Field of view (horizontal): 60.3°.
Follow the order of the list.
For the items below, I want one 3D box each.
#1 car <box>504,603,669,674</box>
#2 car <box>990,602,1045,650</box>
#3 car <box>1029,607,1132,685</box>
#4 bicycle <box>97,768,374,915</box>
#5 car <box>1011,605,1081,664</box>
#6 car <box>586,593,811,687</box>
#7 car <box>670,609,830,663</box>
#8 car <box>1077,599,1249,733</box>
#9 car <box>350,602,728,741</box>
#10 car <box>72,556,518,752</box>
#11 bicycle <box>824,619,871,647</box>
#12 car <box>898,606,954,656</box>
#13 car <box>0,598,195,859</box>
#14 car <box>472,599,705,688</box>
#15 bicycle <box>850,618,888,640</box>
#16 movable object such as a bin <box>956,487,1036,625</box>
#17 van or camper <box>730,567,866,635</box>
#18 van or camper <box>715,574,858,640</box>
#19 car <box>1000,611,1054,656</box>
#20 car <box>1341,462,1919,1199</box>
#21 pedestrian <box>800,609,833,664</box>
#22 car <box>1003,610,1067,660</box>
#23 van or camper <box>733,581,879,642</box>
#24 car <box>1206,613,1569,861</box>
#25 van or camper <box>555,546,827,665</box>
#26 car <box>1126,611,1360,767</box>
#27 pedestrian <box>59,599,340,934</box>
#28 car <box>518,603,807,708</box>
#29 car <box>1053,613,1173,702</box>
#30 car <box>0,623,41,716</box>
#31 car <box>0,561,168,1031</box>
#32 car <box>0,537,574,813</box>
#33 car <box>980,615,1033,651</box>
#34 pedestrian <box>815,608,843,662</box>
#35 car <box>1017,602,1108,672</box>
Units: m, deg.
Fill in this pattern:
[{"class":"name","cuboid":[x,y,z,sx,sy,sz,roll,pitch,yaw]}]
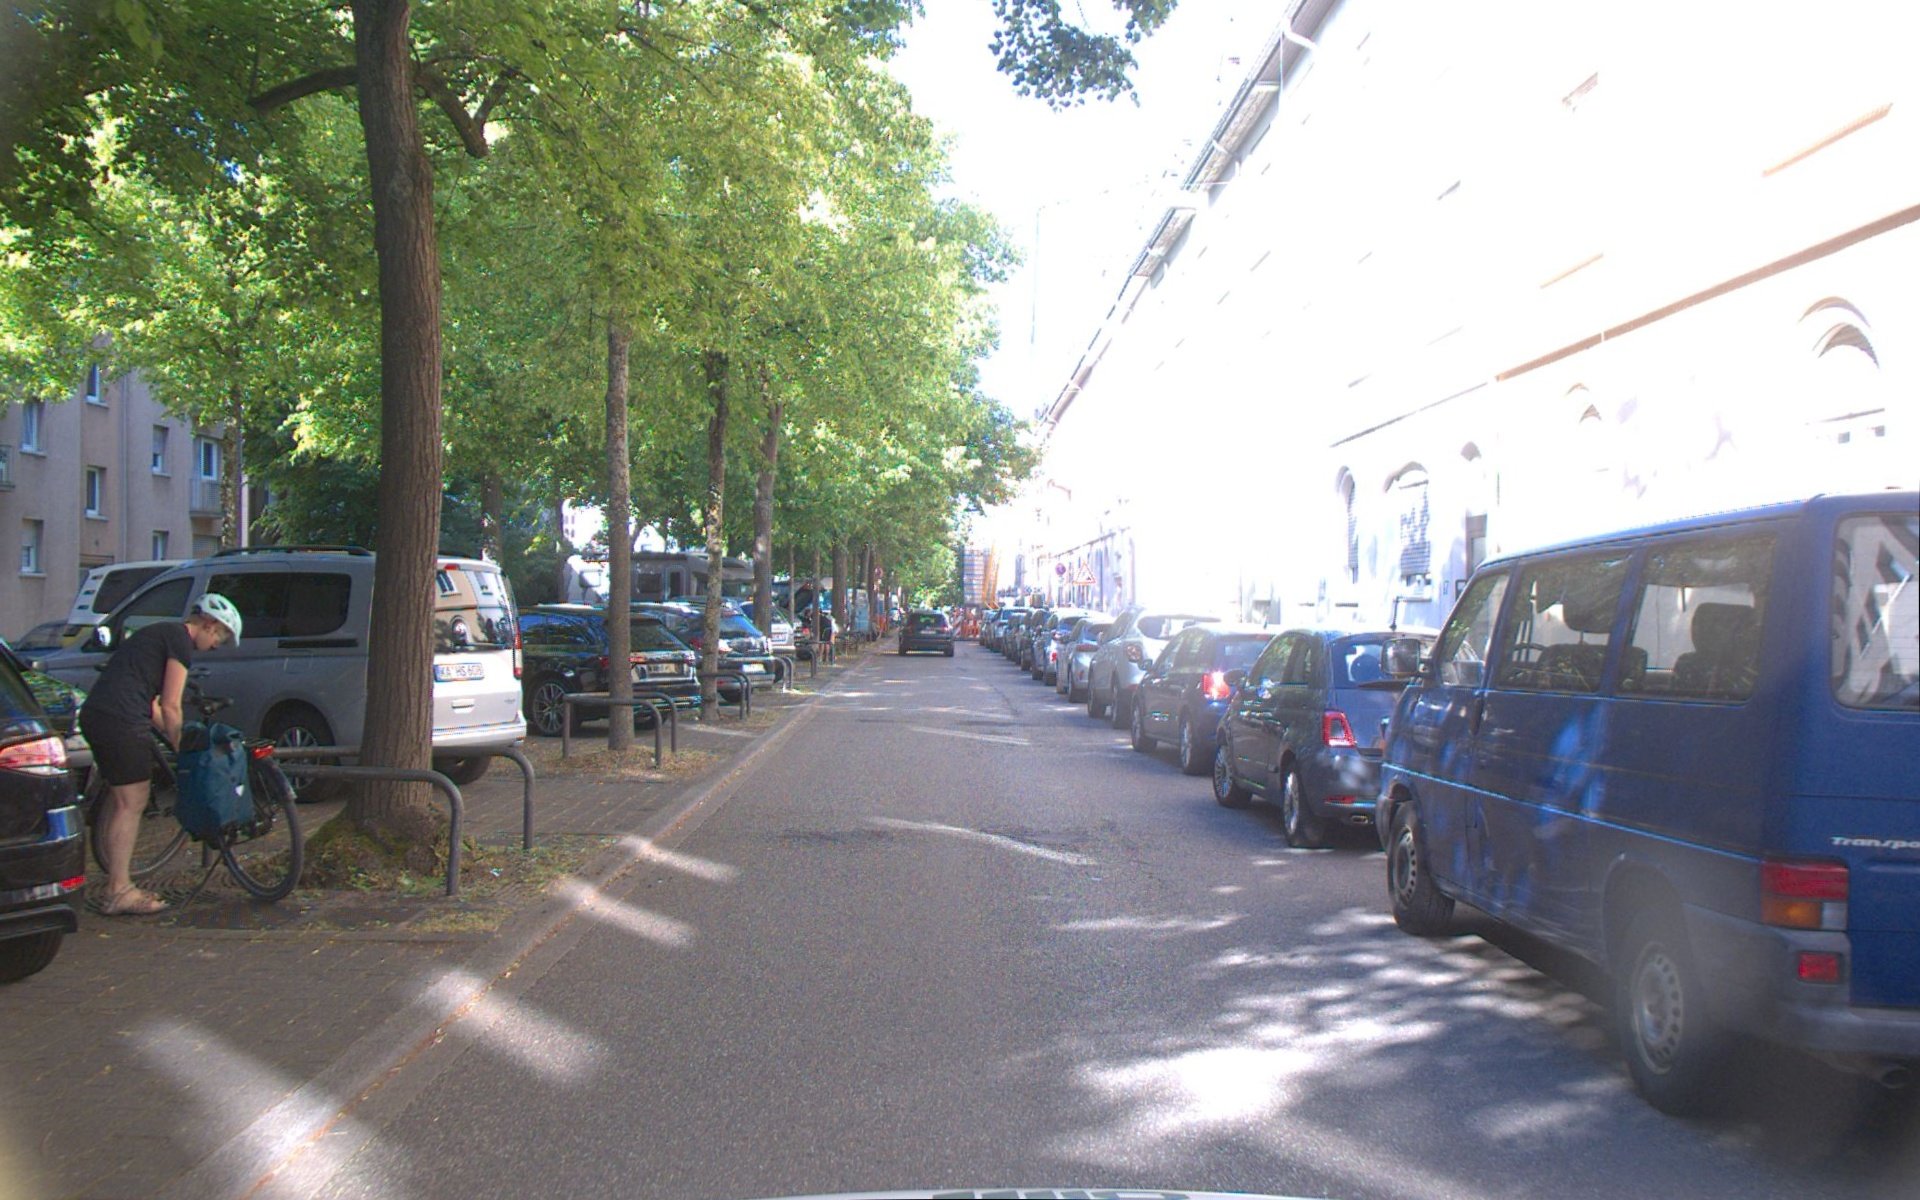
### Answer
[{"class":"car","cuboid":[-8.514,0.854,37.663,3.469,1.533,1.753,-1,0,33]},{"class":"car","cuboid":[2.086,0.935,61.174,1.779,1.703,4.672,0,0,-1]},{"class":"car","cuboid":[2.529,0.943,35.561,1.688,1.555,4.155,0,0,-3]},{"class":"bicycle","cuboid":[-3.612,1.171,8.207,1.579,0.568,0.409,0,0,30]},{"class":"car","cuboid":[2.360,0.936,46.073,1.598,1.561,3.590,0,0,-3]},{"class":"car","cuboid":[-5.048,0.732,31.831,4.054,1.709,1.757,0,0,28]},{"class":"car","cuboid":[-5.922,0.991,46.551,4.230,1.449,1.674,0,0,26]},{"class":"car","cuboid":[2.783,0.854,23.527,1.688,1.715,4.155,0,0,-4]},{"class":"car","cuboid":[-5.034,0.778,19.610,4.392,1.481,1.784,0,0,31]},{"class":"car","cuboid":[-7.133,0.559,17.679,4.503,1.864,2.016,-1,-1,28]},{"class":"bicycle","cuboid":[-4.247,1.256,62.505,1.702,1.023,0.506,-1,0,-32]},{"class":"car","cuboid":[-1.139,0.995,53.871,1.761,1.530,3.584,-1,0,-2]},{"class":"car","cuboid":[-6.645,0.701,10.364,3.721,1.431,1.619,0,0,33]},{"class":"car","cuboid":[-6.752,0.750,29.993,3.956,1.427,1.820,1,0,31]},{"class":"bicycle","cuboid":[-4.430,1.417,80.817,1.858,1.024,0.430,0,0,23]},{"class":"movable object such as a bin","cuboid":[1.843,-2.191,84.479,3.415,6.878,2.363,0,-1,31]},{"class":"van or camper","cuboid":[-8.201,0.072,83.458,6.527,3.297,2.492,-1,0,28]},{"class":"van or camper","cuboid":[-7.396,0.318,70.368,5.755,2.683,2.252,-1,0,28]},{"class":"car","cuboid":[2.226,1.103,55.767,1.585,1.437,3.787,0,0,-1]},{"class":"car","cuboid":[3.103,0.604,6.742,1.909,1.934,4.844,0,0,-1]},{"class":"pedestrian","cuboid":[-3.923,0.984,45.197,0.695,1.481,0.596,-1,0,22]},{"class":"car","cuboid":[2.265,1.040,50.769,1.598,1.437,4.086,0,0,-3]},{"class":"van or camper","cuboid":[-6.167,0.461,66.147,5.386,2.315,2.220,-1,0,23]},{"class":"car","cuboid":[2.985,0.881,12.296,1.589,1.524,3.593,0,0,-3]},{"class":"van or camper","cuboid":[-7.206,0.182,44.023,7.083,2.981,2.312,-1,0,26]},{"class":"car","cuboid":[2.853,0.844,17.459,1.519,1.418,3.857,0,0,-5]},{"class":"pedestrian","cuboid":[-3.486,0.709,7.621,0.737,1.421,0.927,-1,0,30]},{"class":"car","cuboid":[-4.582,0.806,25.313,4.328,1.487,1.712,0,-1,31]},{"class":"car","cuboid":[2.698,0.989,29.973,1.687,1.457,4.157,0,0,-1]},{"class":"car","cuboid":[-15.679,1.076,24.597,1.853,1.411,3.999,0,0,-1]},{"class":"car","cuboid":[-4.988,0.635,6.176,4.019,1.533,1.730,0,0,30]},{"class":"car","cuboid":[-5.532,0.512,13.225,4.418,1.897,2.080,0,0,24]},{"class":"car","cuboid":[1.944,1.399,70.769,1.953,1.434,4.499,0,0,-2]},{"class":"pedestrian","cuboid":[-3.622,0.971,45.730,0.602,1.481,0.519,-1,0,22]},{"class":"car","cuboid":[2.471,0.861,40.837,1.688,1.624,4.154,0,0,-4]}]
